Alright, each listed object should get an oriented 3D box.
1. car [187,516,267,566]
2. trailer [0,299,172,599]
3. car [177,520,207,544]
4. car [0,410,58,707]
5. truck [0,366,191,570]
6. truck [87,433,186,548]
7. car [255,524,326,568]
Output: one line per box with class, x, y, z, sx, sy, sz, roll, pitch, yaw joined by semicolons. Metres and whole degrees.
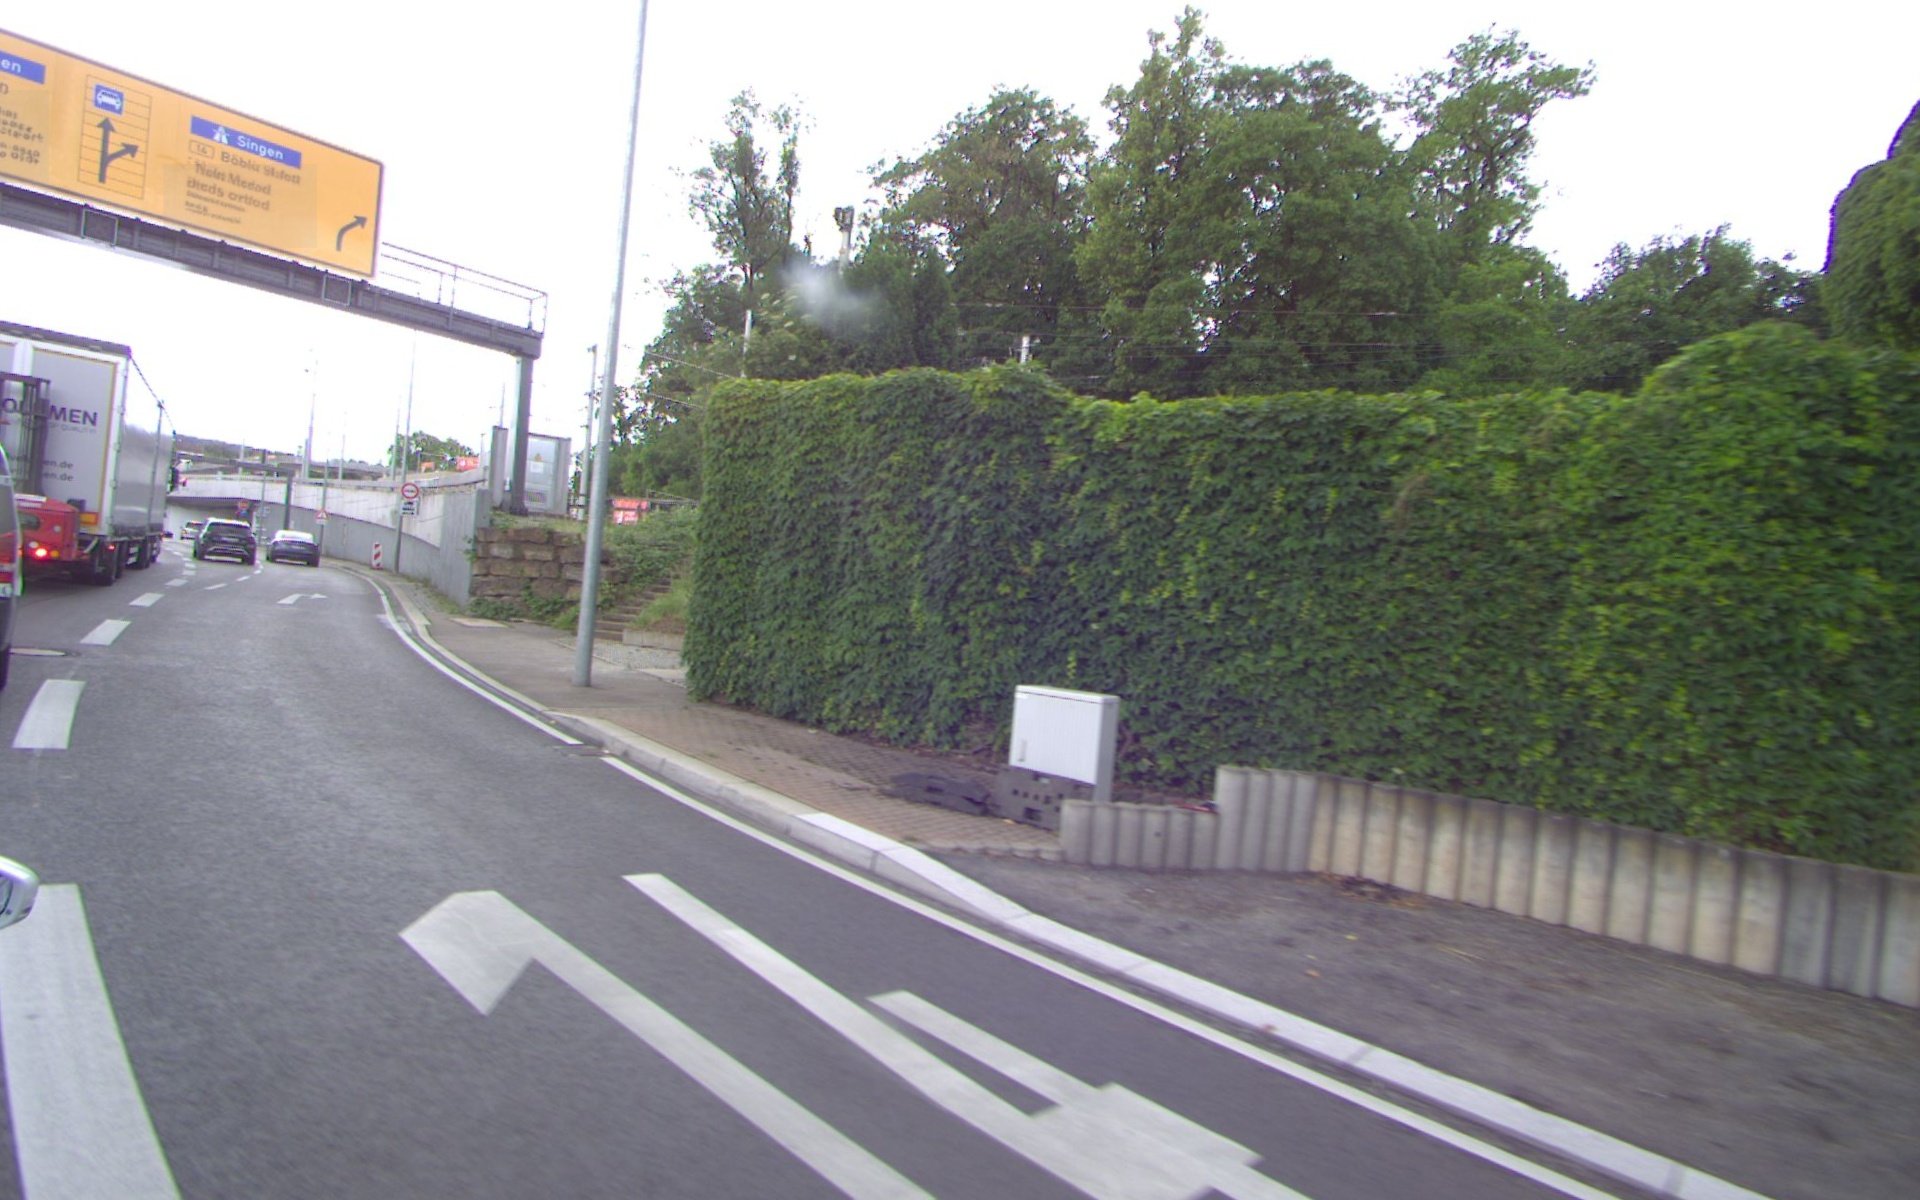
car;-27.738;-2.222;38.015;1.887;1.537;3.953;8;-3;-43
trailer;-17.552;-2.576;18.713;3.704;4.191;10.878;7;-1;-36
car;-71.529;-6.295;93.735;1.984;1.870;3.960;8;-2;-37
car;-8.932;-0.531;8.043;5.130;2.014;1.990;6;-1;43
truck;-23.858;-3.286;27.564;3.704;4.191;10.878;7;-1;-36
truck;-42.279;-5.403;51.495;3.055;4.856;9.053;10;-4;-41
car;-29.960;-2.429;44.959;1.887;1.645;3.952;8;-2;-43
